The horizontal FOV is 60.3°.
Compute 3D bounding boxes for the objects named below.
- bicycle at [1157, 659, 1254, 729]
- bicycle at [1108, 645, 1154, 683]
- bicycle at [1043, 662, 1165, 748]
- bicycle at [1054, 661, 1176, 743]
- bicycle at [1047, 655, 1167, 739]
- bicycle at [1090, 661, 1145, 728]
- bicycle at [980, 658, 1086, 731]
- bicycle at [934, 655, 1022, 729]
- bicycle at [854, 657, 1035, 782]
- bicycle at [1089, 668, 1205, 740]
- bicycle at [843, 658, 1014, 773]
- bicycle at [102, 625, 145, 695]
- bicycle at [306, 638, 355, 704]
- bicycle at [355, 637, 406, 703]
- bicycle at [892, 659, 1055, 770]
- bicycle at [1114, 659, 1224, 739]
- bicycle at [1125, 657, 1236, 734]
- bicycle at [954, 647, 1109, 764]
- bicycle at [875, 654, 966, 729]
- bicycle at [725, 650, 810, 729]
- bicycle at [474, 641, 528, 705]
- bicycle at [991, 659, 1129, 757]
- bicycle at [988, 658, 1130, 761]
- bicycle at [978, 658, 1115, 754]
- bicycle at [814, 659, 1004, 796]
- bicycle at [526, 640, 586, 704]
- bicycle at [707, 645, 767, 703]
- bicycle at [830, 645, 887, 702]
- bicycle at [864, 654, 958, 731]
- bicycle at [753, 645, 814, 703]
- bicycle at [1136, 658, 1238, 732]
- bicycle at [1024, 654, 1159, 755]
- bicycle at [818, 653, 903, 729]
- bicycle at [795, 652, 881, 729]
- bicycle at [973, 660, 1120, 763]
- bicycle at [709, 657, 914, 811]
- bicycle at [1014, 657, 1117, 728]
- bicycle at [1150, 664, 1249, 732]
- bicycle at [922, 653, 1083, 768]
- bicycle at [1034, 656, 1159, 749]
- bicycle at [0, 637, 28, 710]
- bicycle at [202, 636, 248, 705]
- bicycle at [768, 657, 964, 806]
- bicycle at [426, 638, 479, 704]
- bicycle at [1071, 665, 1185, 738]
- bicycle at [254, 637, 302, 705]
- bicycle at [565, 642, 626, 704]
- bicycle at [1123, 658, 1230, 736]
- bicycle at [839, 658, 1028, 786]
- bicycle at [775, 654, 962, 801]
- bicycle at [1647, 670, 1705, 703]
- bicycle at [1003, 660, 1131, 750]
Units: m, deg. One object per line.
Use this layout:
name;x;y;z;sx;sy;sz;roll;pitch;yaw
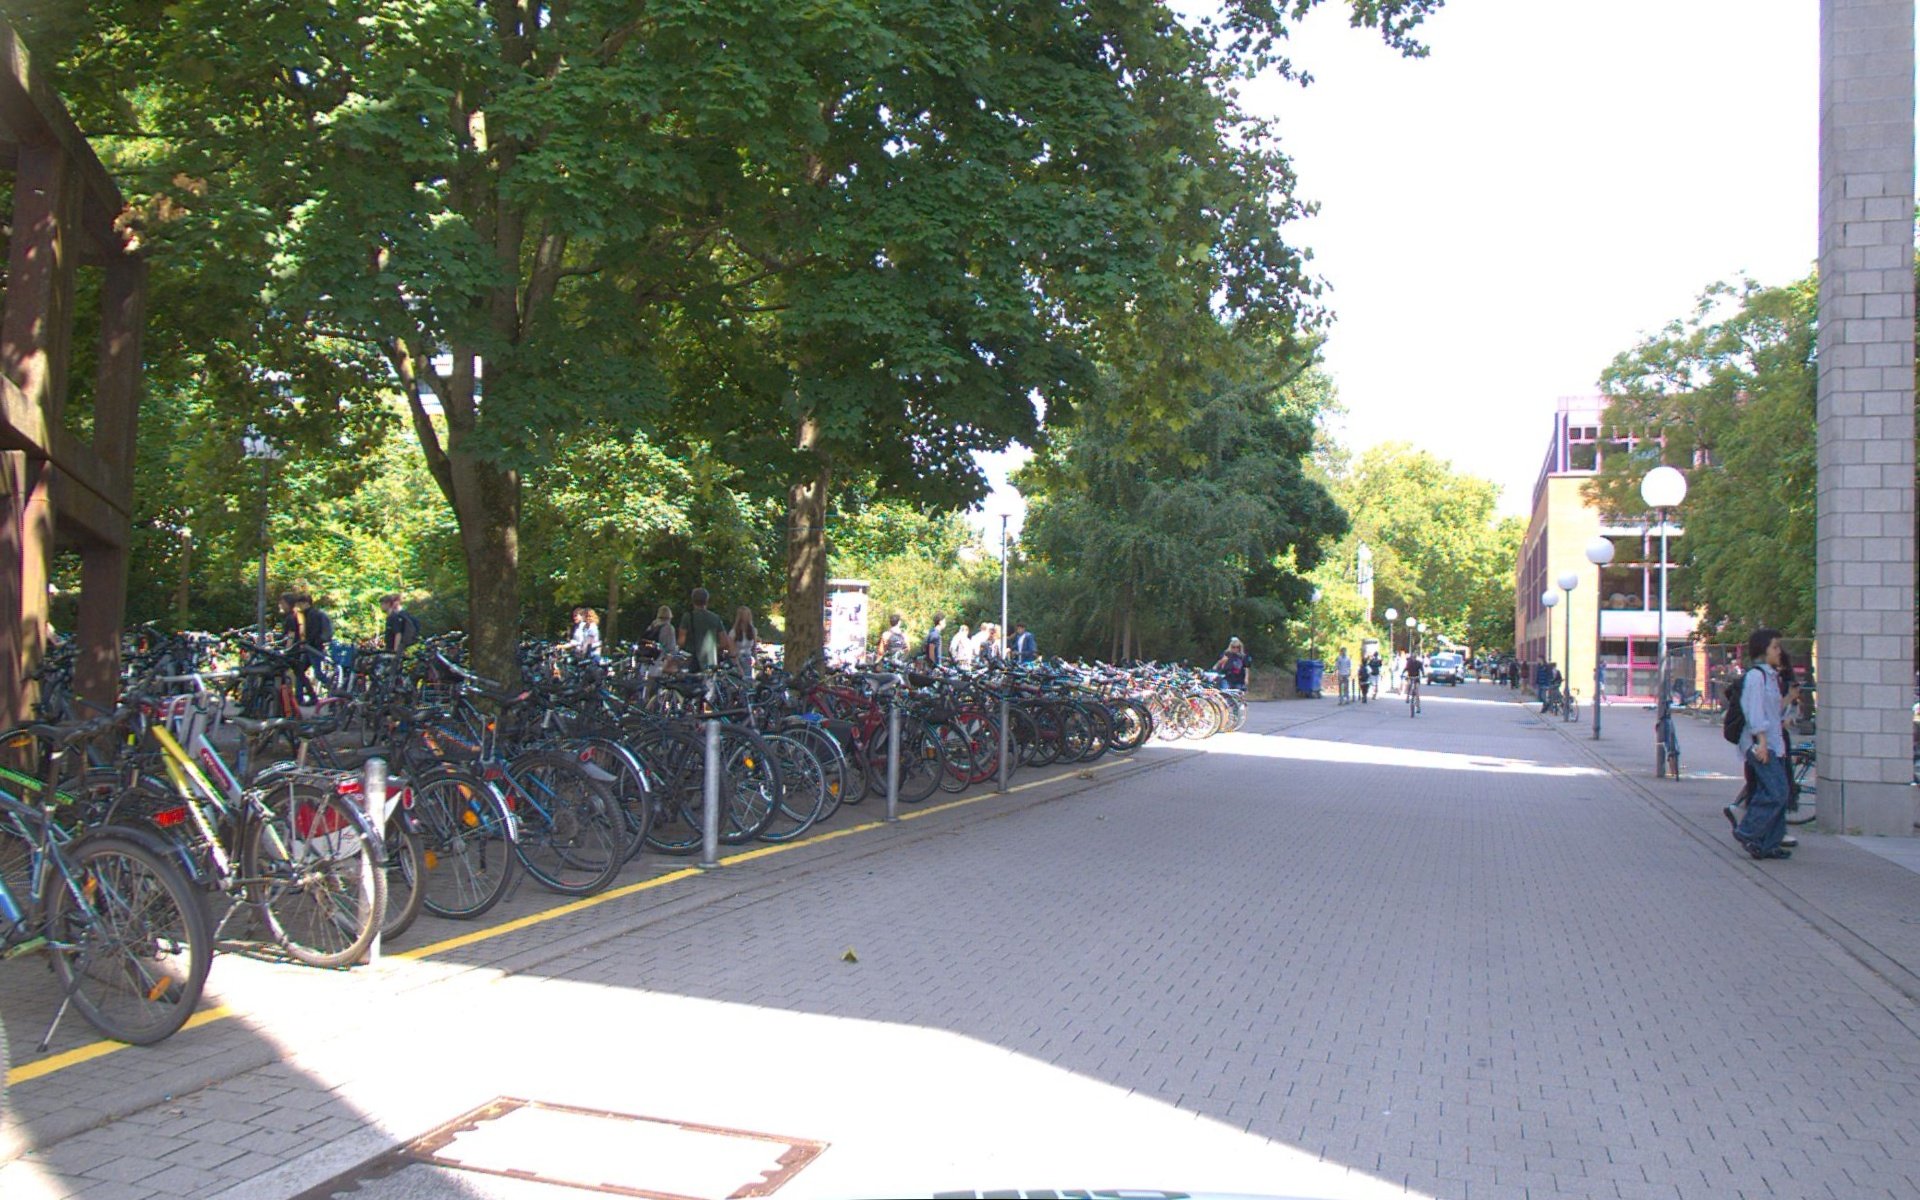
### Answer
bicycle;4.340;1.659;29.290;1.658;1.179;0.474;1;-2;9
bicycle;5.083;1.894;48.967;0.465;1.065;1.691;2;-2;39
bicycle;2.018;1.460;23.127;1.658;1.127;0.583;1;-2;6
bicycle;2.236;1.469;23.826;1.663;1.127;0.473;2;-2;-10
bicycle;2.160;1.422;24.286;1.663;1.178;0.473;2;-2;-10
bicycle;2.742;1.615;28.599;0.496;1.102;1.699;1;-2;20
bicycle;1.176;1.521;26.805;1.663;1.102;0.473;1;-2;31
bicycle;0.272;1.452;26.400;0.469;1.102;1.677;3;-2;-37
bicycle;-0.149;1.163;16.368;1.698;1.146;0.497;1;-2;13
bicycle;2.825;1.572;24.962;1.667;1.036;0.472;2;-2;-18
bicycle;-0.332;1.188;17.110;1.702;1.127;0.496;2;-2;-7
bicycle;-14.027;0.995;27.727;0.510;1.130;1.760;3;-2;-30
bicycle;-11.257;1.255;29.546;0.510;1.130;1.760;3;-2;-30
bicycle;-10.461;1.255;29.841;0.510;1.130;1.760;3;-2;-30
bicycle;0.155;1.225;17.850;1.698;1.127;0.497;2;-2;5
bicycle;3.293;1.557;26.123;1.659;1.189;0.474;2;-2;1
bicycle;3.637;1.571;27.329;1.743;1.189;0.473;1;-2;31
bicycle;0.823;1.196;18.953;1.698;1.257;0.497;1;-2;10
bicycle;-0.637;1.434;26.090;0.470;1.102;1.674;3;-2;-41
bicycle;-2.890;1.326;24.676;0.469;1.102;1.677;3;-2;-36
bicycle;-8.507;1.342;30.637;0.510;1.130;1.760;3;-2;-30
bicycle;1.237;1.319;20.352;1.658;1.127;0.474;1;-2;6
bicycle;1.197;1.303;19.885;1.658;1.165;0.474;1;-2;6
bicycle;1.095;1.320;20.790;1.658;1.127;0.474;1;-2;6
bicycle;-0.476;1.120;14.905;1.706;1.127;0.572;0;-2;37
bicycle;-7.642;1.347;31.213;0.511;1.130;1.757;3;-2;-33
bicycle;-4.552;1.492;33.611;0.468;1.130;1.757;3;-2;-33
bicycle;-2.120;1.526;34.504;0.467;1.130;1.761;2;-2;-28
bicycle;-0.769;1.408;25.490;0.470;1.102;1.674;3;-2;-41
bicycle;-3.634;1.507;33.877;0.468;1.130;1.757;3;-2;-33
bicycle;3.867;1.613;28.150;1.658;1.189;0.474;1;-2;12
bicycle;1.690;1.329;21.229;1.658;1.220;0.537;1;-2;9
bicycle;-1.553;1.400;25.602;0.469;1.102;1.677;3;-2;-36
bicycle;-1.872;1.371;25.241;0.469;1.102;1.677;3;-2;-36
bicycle;1.025;1.292;19.388;1.658;1.127;0.497;1;-2;7
bicycle;-1.201;1.045;13.248;1.595;1.127;0.561;1;-2;32
bicycle;1.763;1.537;27.743;1.663;1.102;0.473;1;-2;30
bicycle;4.177;1.696;28.847;1.658;1.110;0.474;1;-2;12
bicycle;0.474;1.217;18.474;1.698;1.199;0.497;1;-2;17
bicycle;1.872;1.394;22.621;1.658;1.208;0.474;1;-2;6
bicycle;-15.421;1.177;26.773;0.510;1.130;1.760;3;-2;-30
bicycle;-12.659;1.197;28.474;0.510;1.130;1.760;3;-2;-30
bicycle;-0.787;1.063;13.678;1.595;1.127;0.496;1;-2;32
bicycle;-9.277;1.285;30.198;0.510;1.130;1.760;3;-2;-30
bicycle;2.582;1.557;25.411;1.667;1.080;0.472;2;-2;-18
bicycle;-11.952;1.224;28.969;0.510;1.130;1.760;3;-2;-30
bicycle;-7.026;1.401;31.828;0.511;1.130;1.757;3;-2;-33
bicycle;3.480;1.554;26.633;1.658;1.189;0.474;2;-2;5
bicycle;-0.250;1.145;15.749;1.698;1.127;0.497;1;-2;18
bicycle;-0.799;1.076;14.324;1.595;1.164;0.496;1;-2;32
bicycle;26.057;3.139;60.180;1.869;1.102;0.587;0;-2;35
bicycle;1.439;1.394;22.180;1.658;1.127;0.566;1;-2;6
